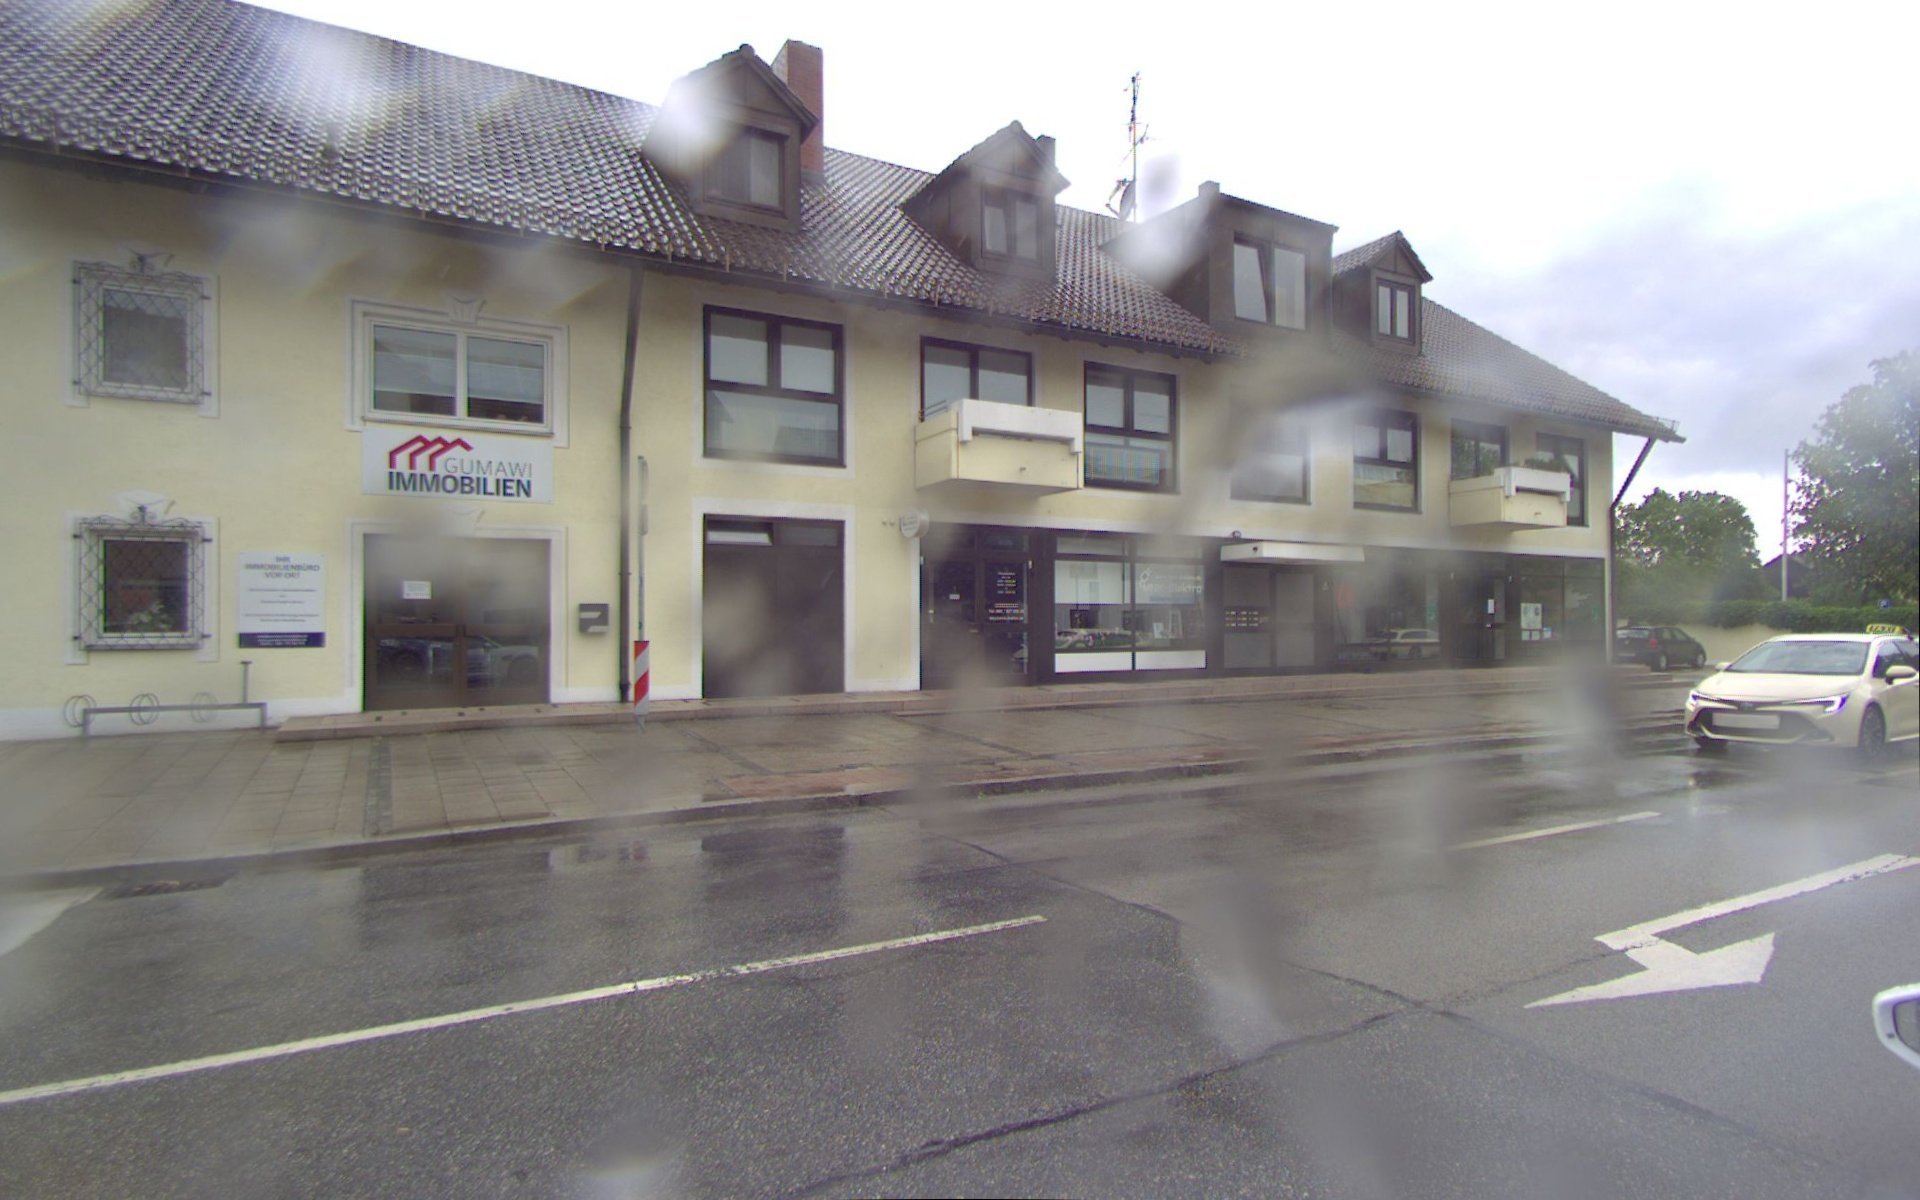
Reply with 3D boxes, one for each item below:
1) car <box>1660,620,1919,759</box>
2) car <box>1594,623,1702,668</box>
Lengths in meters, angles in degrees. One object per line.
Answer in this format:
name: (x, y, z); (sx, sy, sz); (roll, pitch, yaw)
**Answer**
car: (11.026, 1.055, 12.852); (4.179, 1.531, 1.745); (1, -3, -29)
car: (22.586, 1.478, 32.967); (3.468, 1.398, 1.599); (1, -2, -31)
